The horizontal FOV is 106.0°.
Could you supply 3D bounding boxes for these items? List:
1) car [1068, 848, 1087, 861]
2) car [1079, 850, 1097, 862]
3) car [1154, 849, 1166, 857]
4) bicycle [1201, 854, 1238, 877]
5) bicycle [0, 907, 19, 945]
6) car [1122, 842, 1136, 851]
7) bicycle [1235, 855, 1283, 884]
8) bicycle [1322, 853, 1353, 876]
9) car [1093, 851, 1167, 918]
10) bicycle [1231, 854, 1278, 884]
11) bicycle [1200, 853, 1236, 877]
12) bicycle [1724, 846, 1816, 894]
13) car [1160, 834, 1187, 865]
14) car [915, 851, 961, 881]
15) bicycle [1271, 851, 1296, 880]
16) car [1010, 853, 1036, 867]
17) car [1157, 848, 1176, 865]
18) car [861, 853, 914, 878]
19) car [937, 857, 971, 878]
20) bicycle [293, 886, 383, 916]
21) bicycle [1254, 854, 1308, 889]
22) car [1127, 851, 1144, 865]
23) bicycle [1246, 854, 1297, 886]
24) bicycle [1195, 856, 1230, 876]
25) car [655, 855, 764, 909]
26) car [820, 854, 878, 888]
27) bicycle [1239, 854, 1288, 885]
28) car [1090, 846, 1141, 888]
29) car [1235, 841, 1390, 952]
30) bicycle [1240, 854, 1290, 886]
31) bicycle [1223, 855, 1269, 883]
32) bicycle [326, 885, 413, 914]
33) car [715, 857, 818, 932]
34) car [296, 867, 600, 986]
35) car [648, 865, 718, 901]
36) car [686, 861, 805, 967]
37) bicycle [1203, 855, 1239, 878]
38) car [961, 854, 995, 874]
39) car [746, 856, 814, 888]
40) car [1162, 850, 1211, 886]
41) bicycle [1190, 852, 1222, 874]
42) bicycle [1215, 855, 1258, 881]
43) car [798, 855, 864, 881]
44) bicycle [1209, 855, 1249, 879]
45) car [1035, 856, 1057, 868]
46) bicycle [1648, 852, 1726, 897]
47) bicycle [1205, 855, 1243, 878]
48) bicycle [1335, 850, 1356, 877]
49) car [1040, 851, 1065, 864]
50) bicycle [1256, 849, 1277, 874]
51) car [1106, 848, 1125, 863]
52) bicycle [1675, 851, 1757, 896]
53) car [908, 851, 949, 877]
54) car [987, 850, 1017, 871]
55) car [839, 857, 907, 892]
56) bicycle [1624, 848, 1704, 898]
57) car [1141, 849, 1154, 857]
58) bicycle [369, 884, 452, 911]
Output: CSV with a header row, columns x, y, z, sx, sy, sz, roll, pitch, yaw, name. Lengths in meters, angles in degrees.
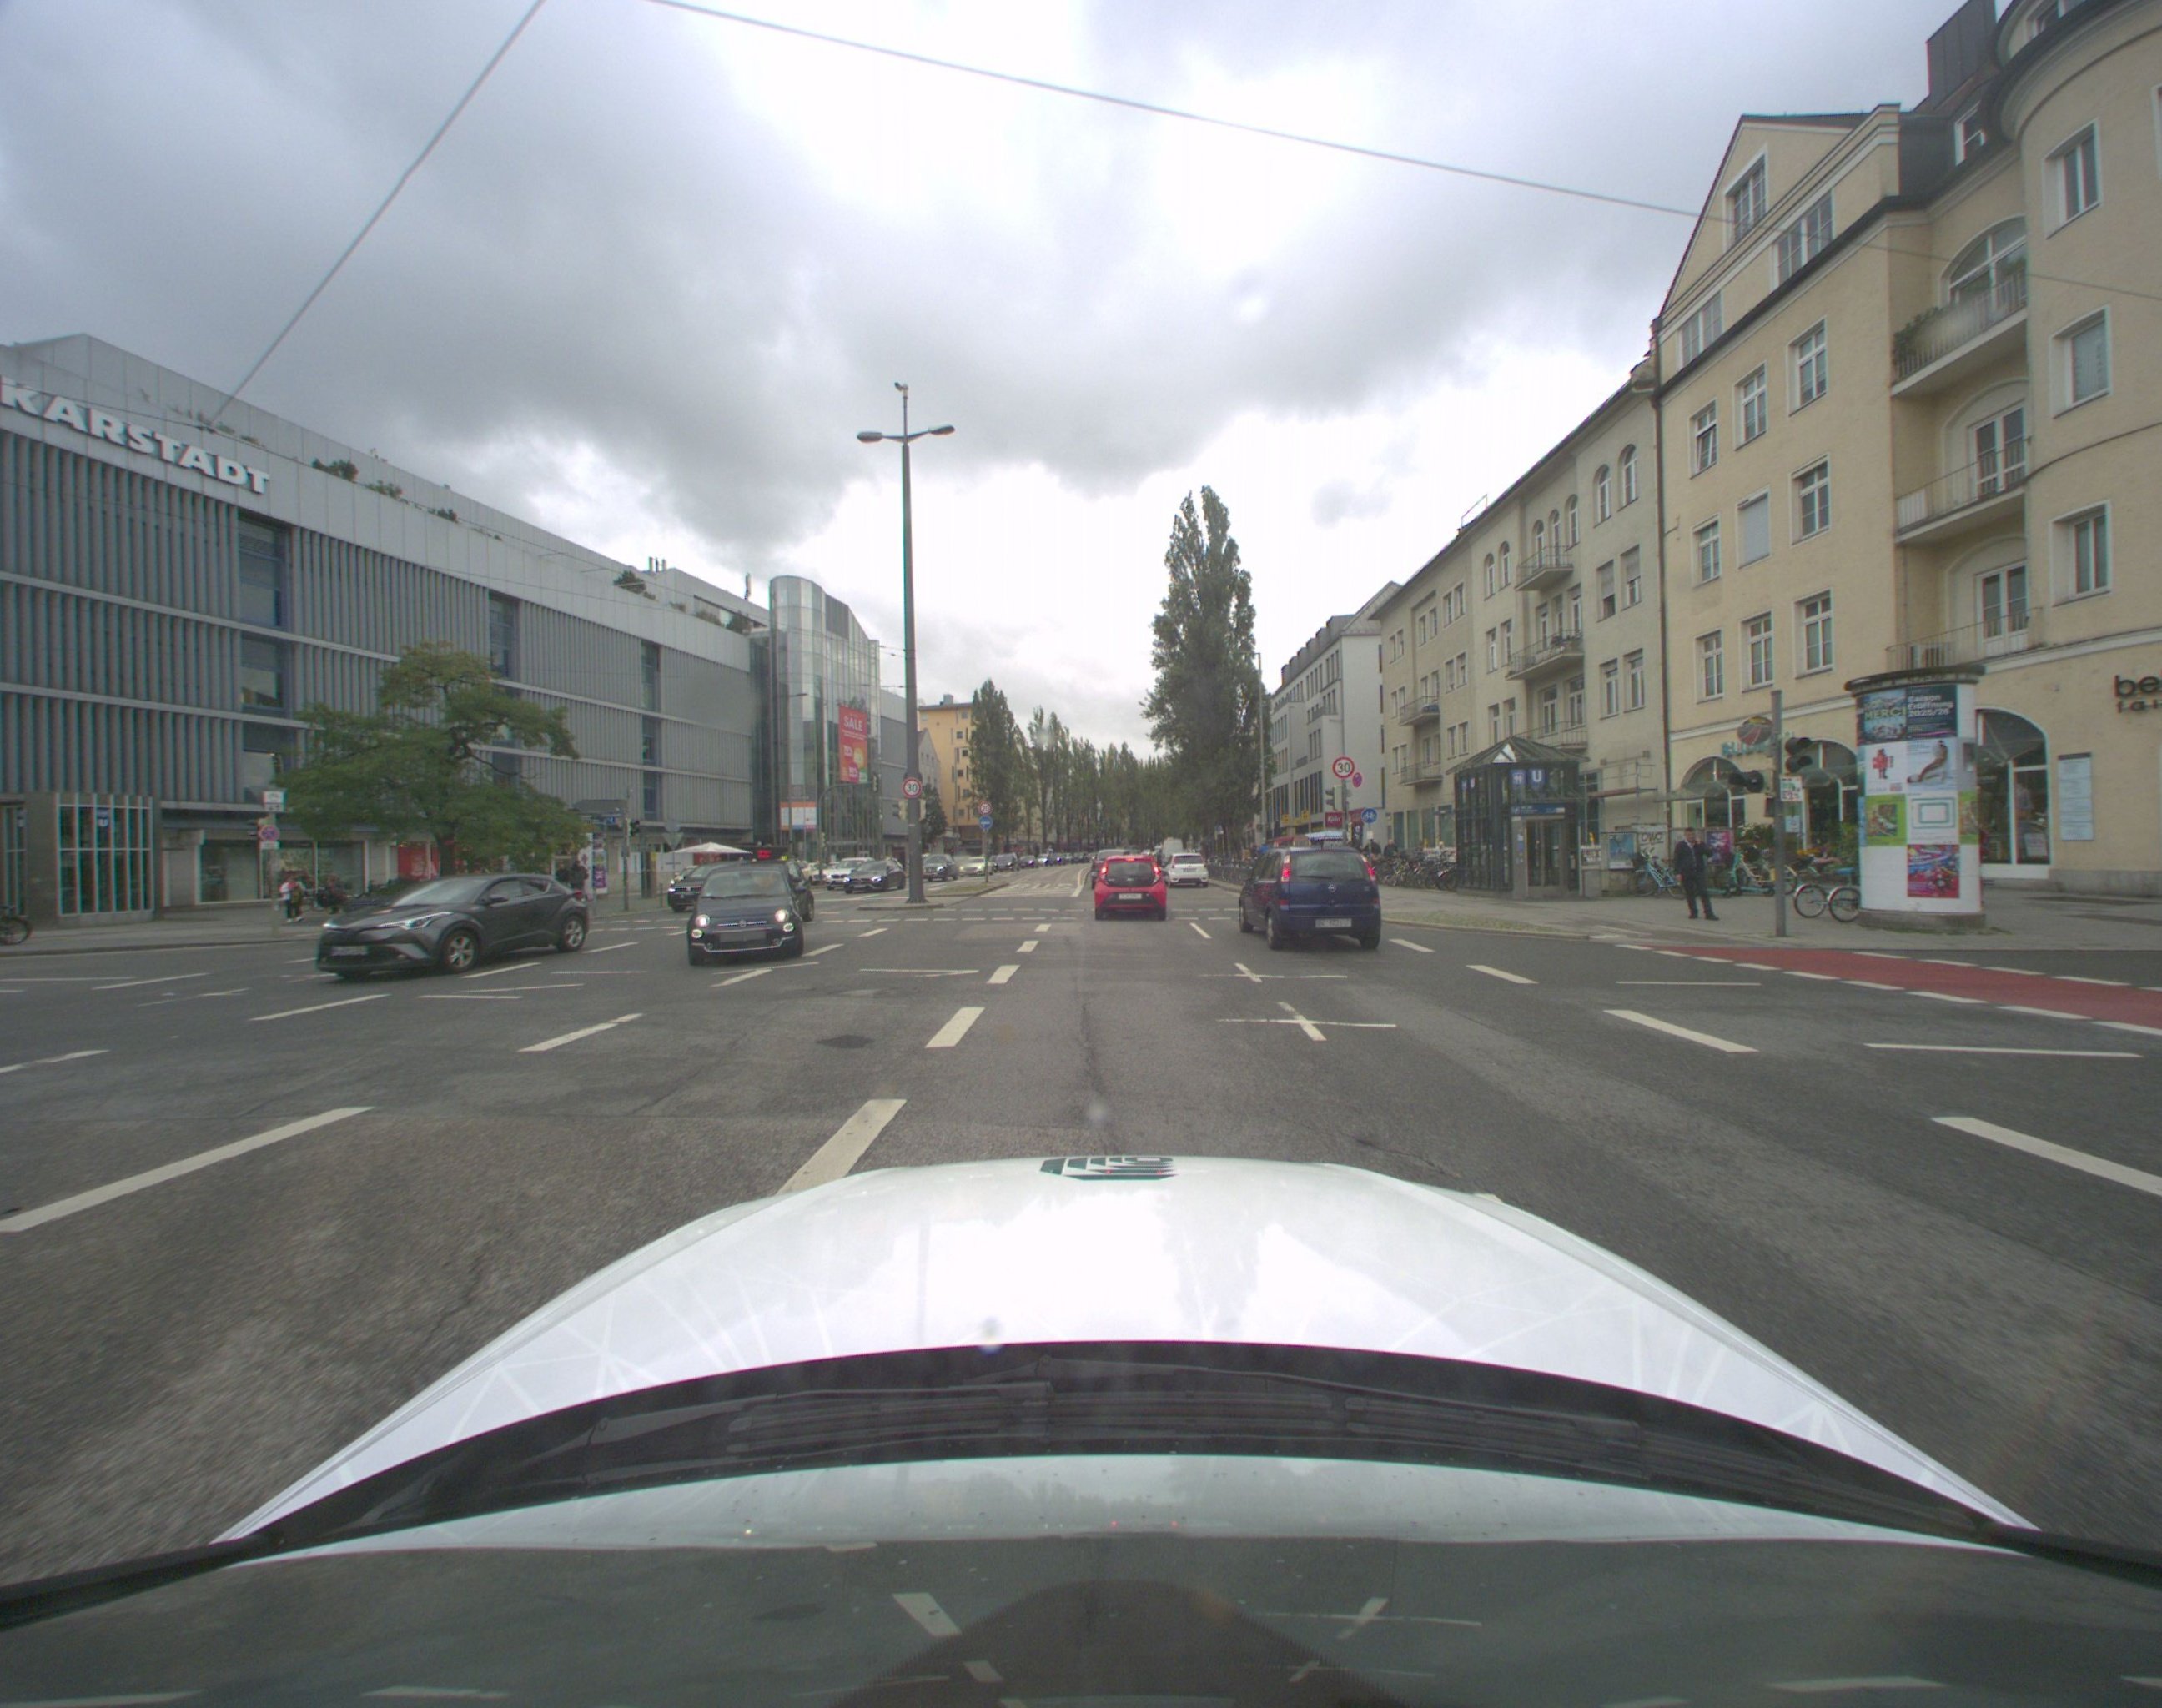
x,y,z,sx,sy,sz,roll,pitch,yaw,name
-0.445,0.057,114.682,1.983,1.691,4.931,-2,0,7,car
1.136,0.308,123.322,1.982,1.691,4.933,-2,0,9,car
17.544,-0.281,181.445,1.979,1.691,4.431,-1,0,14,car
7.044,0.592,41.462,1.815,1.168,0.590,-1,0,44,bicycle
-28.728,1.888,20.806,0.525,0.998,1.987,-1,-2,2,bicycle
9.883,-1.537,167.317,1.979,1.691,4.431,-2,0,14,car
7.102,0.621,32.529,1.782,1.158,0.490,-1,0,31,bicycle
11.843,0.495,37.657,1.309,0.999,0.369,-2,0,2,bicycle
1.140,0.664,19.360,1.598,1.461,3.132,-1,0,3,car
7.065,0.617,33.185,1.781,1.158,0.490,-1,0,32,bicycle
7.097,0.572,42.243,1.815,1.197,0.590,-1,0,44,bicycle
16.119,0.343,19.119,0.493,1.059,1.864,-2,0,-3,bicycle
8.457,-0.441,74.774,2.098,2.718,4.807,-2,0,3,car
-8.649,0.672,49.749,1.736,1.670,4.735,-2,0,2,car
9.456,0.524,38.131,0.611,1.265,2.521,-2,0,3,bicycle
-6.037,0.573,85.258,1.835,1.382,4.609,-2,0,6,car
8.455,0.233,80.734,1.696,1.662,3.558,-1,0,2,car
-13.978,0.781,59.140,1.979,1.679,4.199,-2,0,14,car
-10.517,1.128,67.887,1.830,1.613,4.263,-2,0,5,car
-31.652,2.011,34.707,3.468,1.156,1.064,-2,0,14,bicycle
7.099,0.602,28.980,0.562,1.198,1.782,-2,0,-45,bicycle
7.174,0.505,107.190,1.983,1.838,4.008,-2,0,7,car
7.086,0.605,30.375,1.782,1.158,0.551,-1,0,39,bicycle
7.057,0.639,43.652,1.815,1.052,0.590,-1,0,44,bicycle
-12.677,0.915,28.097,1.776,1.662,4.002,-2,0,2,car
-11.817,0.841,41.718,1.693,1.596,4.000,-2,0,1,car
7.148,0.601,31.867,1.782,1.158,0.490,-1,0,27,bicycle
1.407,0.503,34.266,1.986,1.618,4.001,-2,0,1,car
3.743,0.622,13.771,1.696,1.589,3.558,-2,0,2,car
7.018,0.602,31.059,1.782,1.158,0.551,-1,0,39,bicycle
7.001,0.623,34.564,1.781,1.158,0.656,-1,0,37,bicycle
-31.356,2.010,35.914,3.468,1.156,1.064,-2,0,14,bicycle
-7.232,0.865,18.957,1.502,1.534,2.830,-3,0,-7,car
-10.193,1.060,13.630,1.659,1.508,4.281,-3,0,0,car
-19.740,1.383,40.576,1.995,1.536,4.397,-2,1,-11,car
-5.505,0.871,13.541,1.551,1.445,3.514,-3,0,-21,car
7.004,0.625,40.798,1.782,1.111,0.494,-1,0,44,bicycle
-7.686,0.714,60.997,1.758,1.421,4.642,-2,0,2,car
-16.389,0.929,44.543,1.893,1.543,4.395,-2,0,2,car
4.511,0.565,35.145,1.693,1.426,3.498,-2,0,1,car
7.346,0.539,47.809,1.815,1.241,0.590,-1,0,44,bicycle
6.992,0.639,36.627,1.781,1.111,0.656,-1,0,39,bicycle
-15.715,0.863,51.538,1.981,1.508,4.649,-2,0,11,car
7.022,0.633,38.704,1.782,1.111,0.566,-1,0,43,bicycle
-4.609,1.053,108.794,1.981,1.534,4.477,-2,0,9,car
14.214,0.460,19.164,0.492,0.975,1.867,-2,0,2,bicycle
7.038,0.628,40.132,1.782,1.111,0.590,-1,0,44,bicycle
11.718,0.427,36.061,0.364,1.141,1.734,-2,0,34,bicycle
-3.440,0.398,99.233,1.981,1.534,4.601,-2,0,10,car
9.935,0.374,43.755,0.611,1.265,2.521,-2,0,3,bicycle
3.349,0.121,78.664,1.766,1.439,3.940,-2,0,2,car
14.890,0.437,19.154,0.492,0.975,1.867,-2,0,2,bicycle
-13.219,0.818,70.915,1.983,2.013,5.533,-2,1,6,car
-7.040,0.538,73.114,1.928,1.738,4.591,-1,0,3,car
-9.414,0.886,37.180,1.987,1.411,4.167,-2,0,0,car
13.695,0.415,19.193,0.564,1.107,1.867,-2,0,2,bicycle
13.749,-0.188,168.619,1.979,1.691,4.431,-2,0,14,car
-30.938,2.008,37.594,3.468,1.156,1.064,-2,0,14,bicycle
